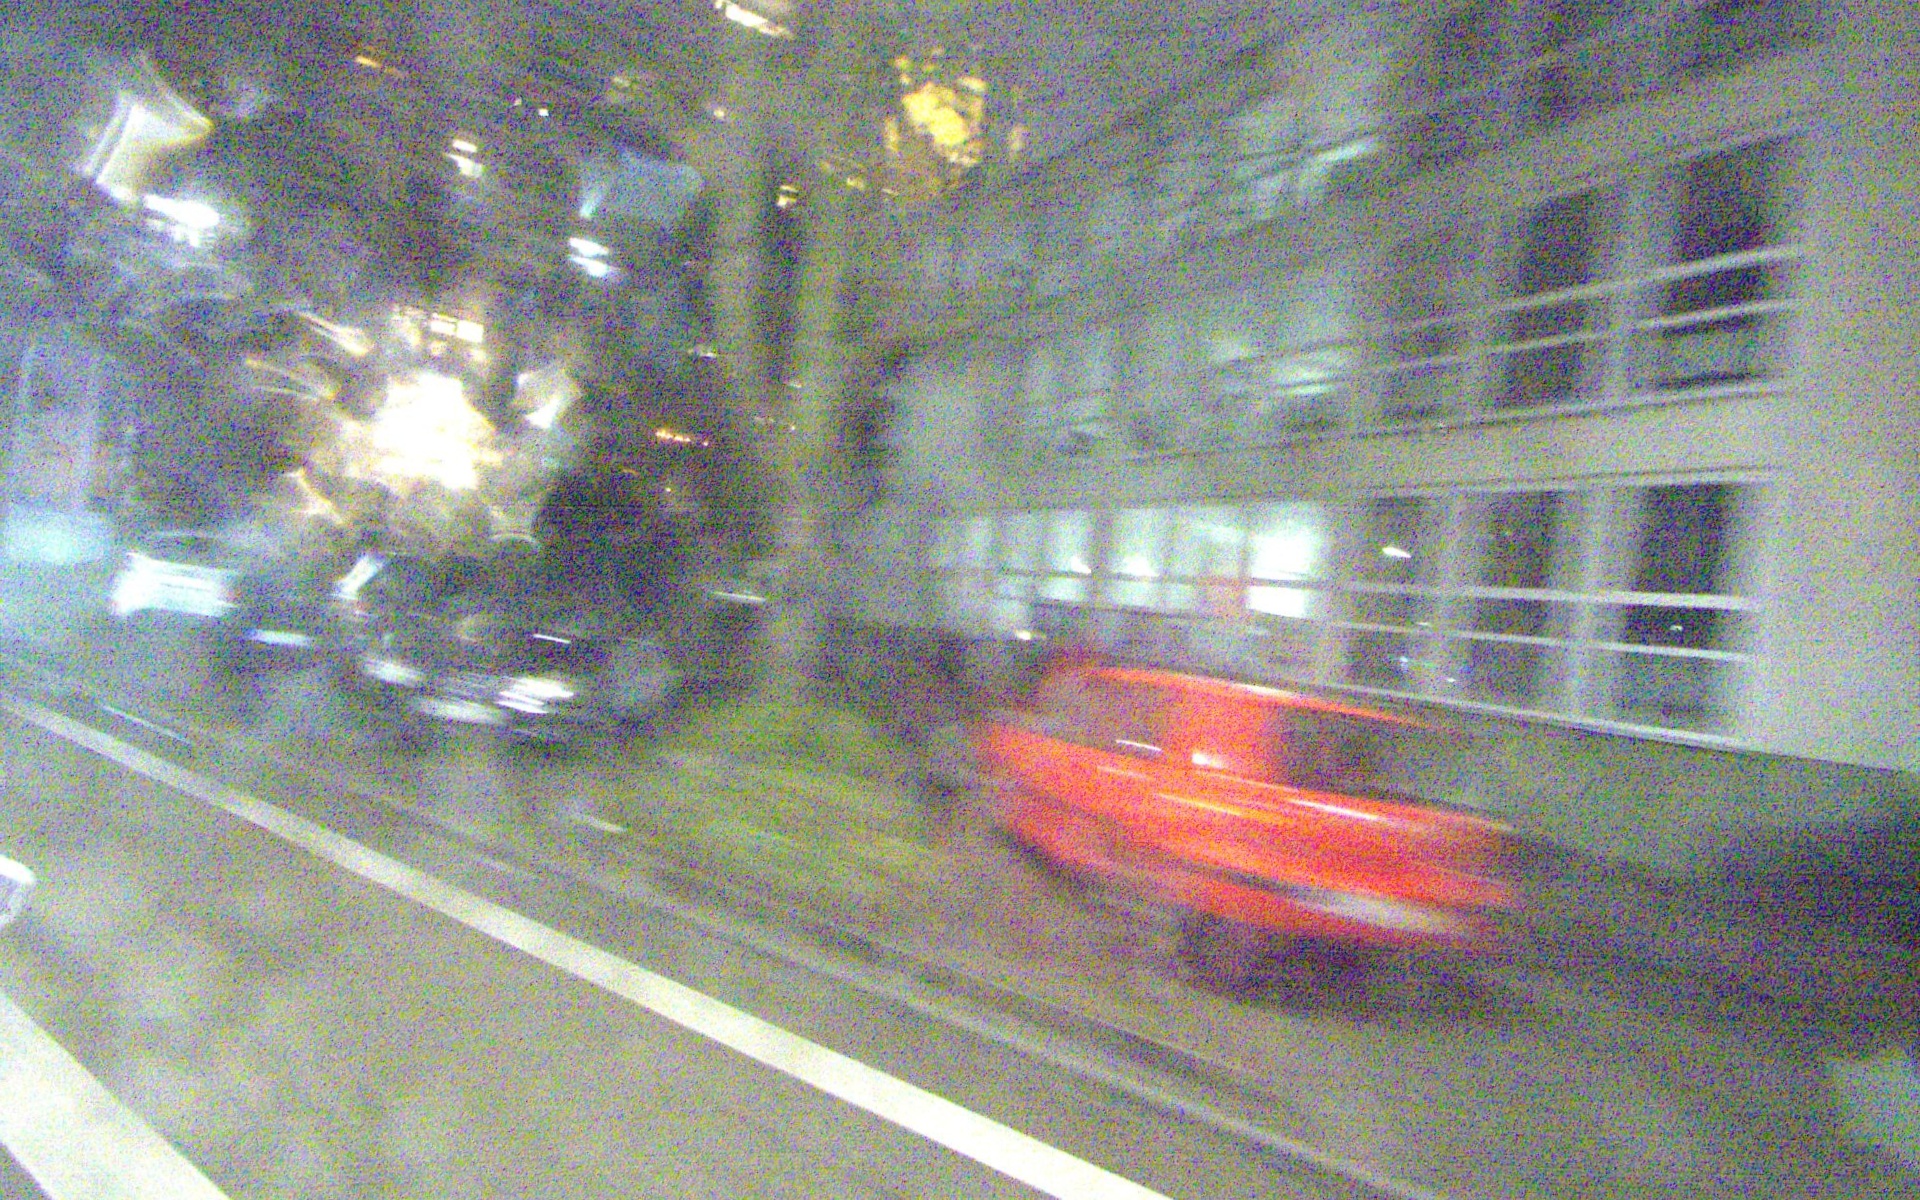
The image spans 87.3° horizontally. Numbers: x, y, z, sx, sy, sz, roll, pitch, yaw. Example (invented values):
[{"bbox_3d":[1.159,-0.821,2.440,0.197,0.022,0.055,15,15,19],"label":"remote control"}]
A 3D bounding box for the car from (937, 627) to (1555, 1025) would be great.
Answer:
[{"bbox_3d":[1.299,1.096,6.435,1.639,1.498,4.173,10,-3,-17],"label":"car"}]

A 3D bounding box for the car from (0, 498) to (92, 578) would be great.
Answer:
[{"bbox_3d":[-19.677,-1.367,19.788,1.652,1.485,4.339,7,-2,-6],"label":"car"}]

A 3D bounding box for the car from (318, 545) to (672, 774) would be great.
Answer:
[{"bbox_3d":[-3.915,0.481,9.329,1.755,1.433,4.252,8,-2,-9],"label":"car"}]

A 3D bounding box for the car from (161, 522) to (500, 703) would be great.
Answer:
[{"bbox_3d":[-6.669,0.121,11.155,1.624,1.490,3.569,7,0,-6],"label":"car"}]

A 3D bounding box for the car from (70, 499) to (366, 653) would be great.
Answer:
[{"bbox_3d":[-9.548,-0.252,13.361,1.685,1.529,3.897,8,-2,-15],"label":"car"}]
